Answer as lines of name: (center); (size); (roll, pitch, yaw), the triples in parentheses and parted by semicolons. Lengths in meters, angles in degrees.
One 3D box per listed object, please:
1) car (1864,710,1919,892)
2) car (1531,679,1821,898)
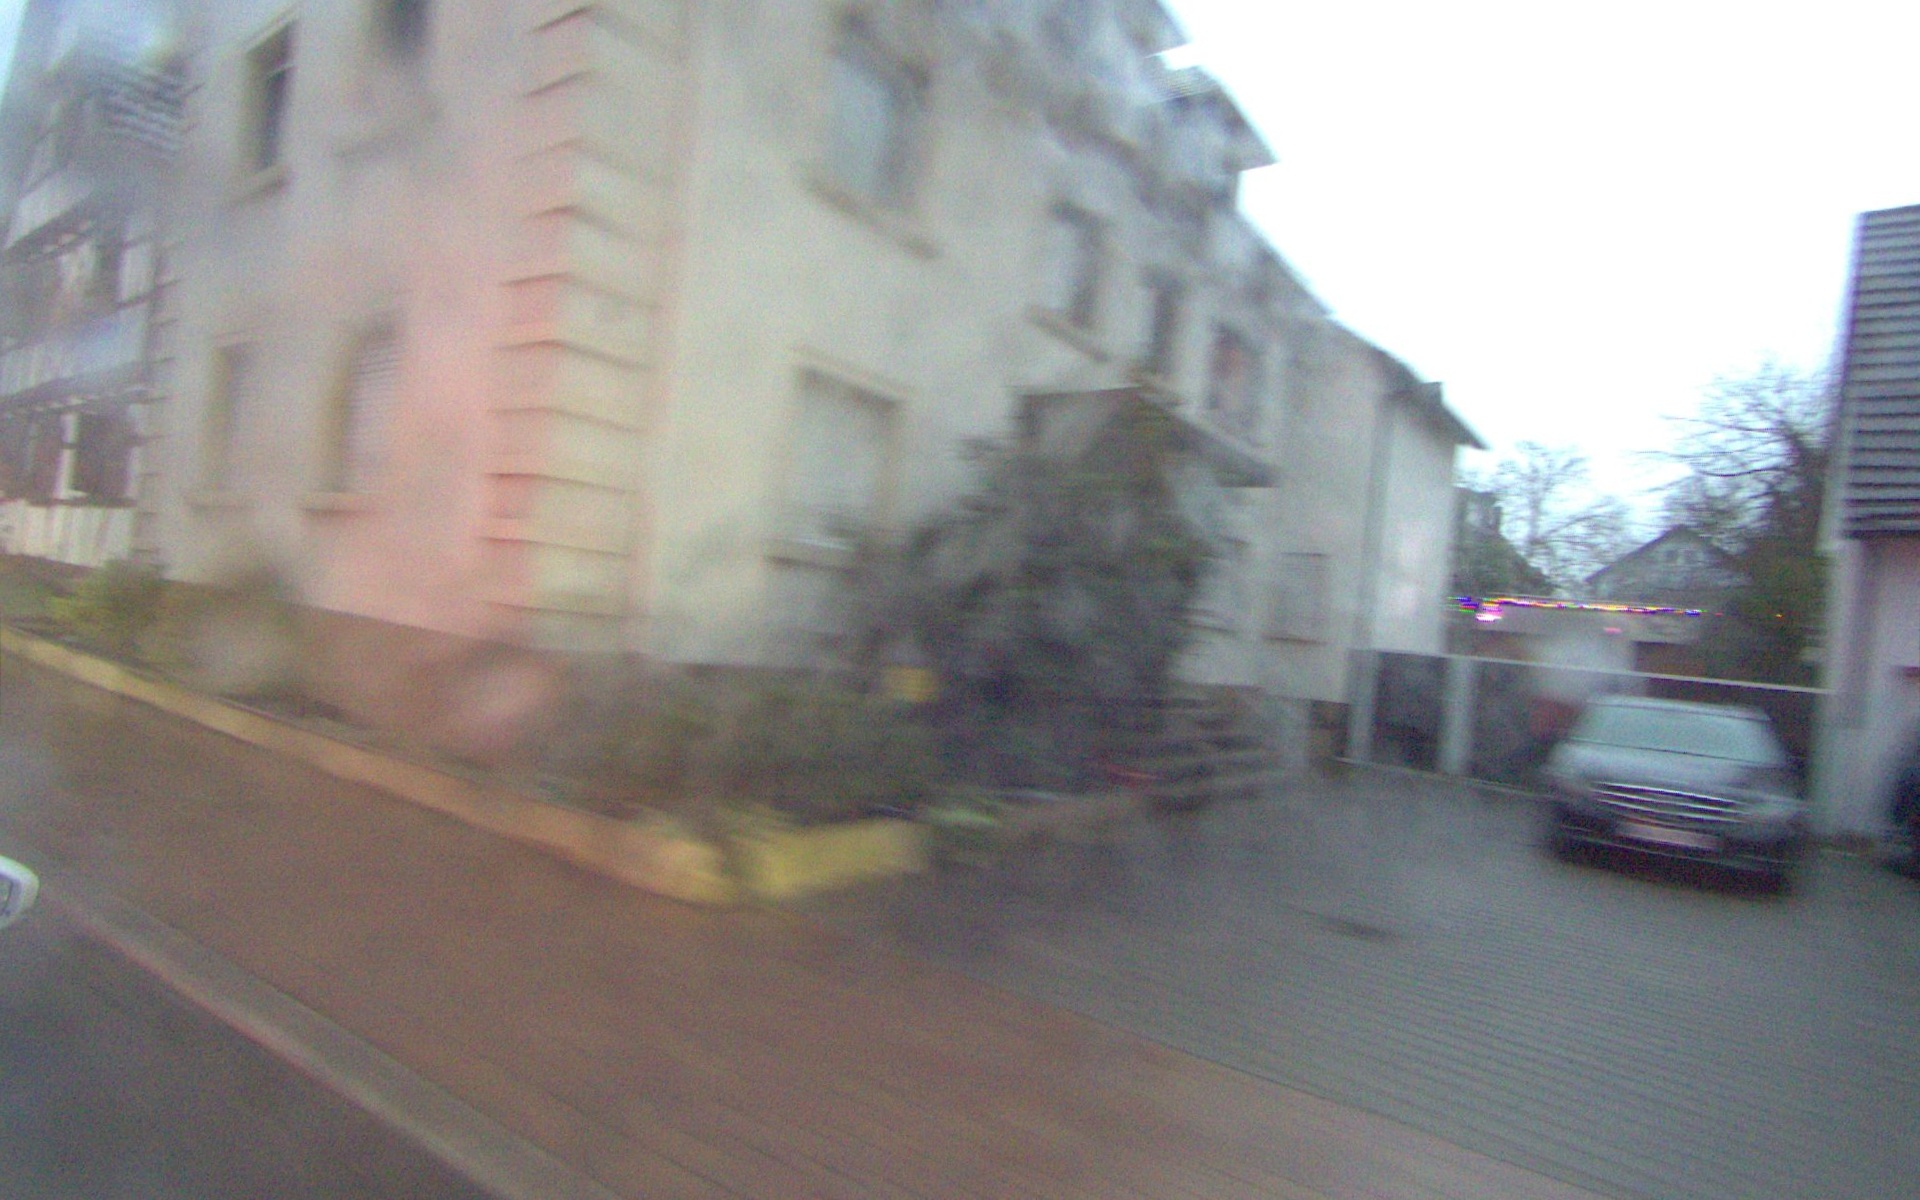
car: (8.910, 1.822, 7.861); (1.715, 1.549, 3.994); (8, 0, 29)
car: (6.897, 1.657, 10.003); (1.839, 1.486, 3.797); (6, -1, 32)
